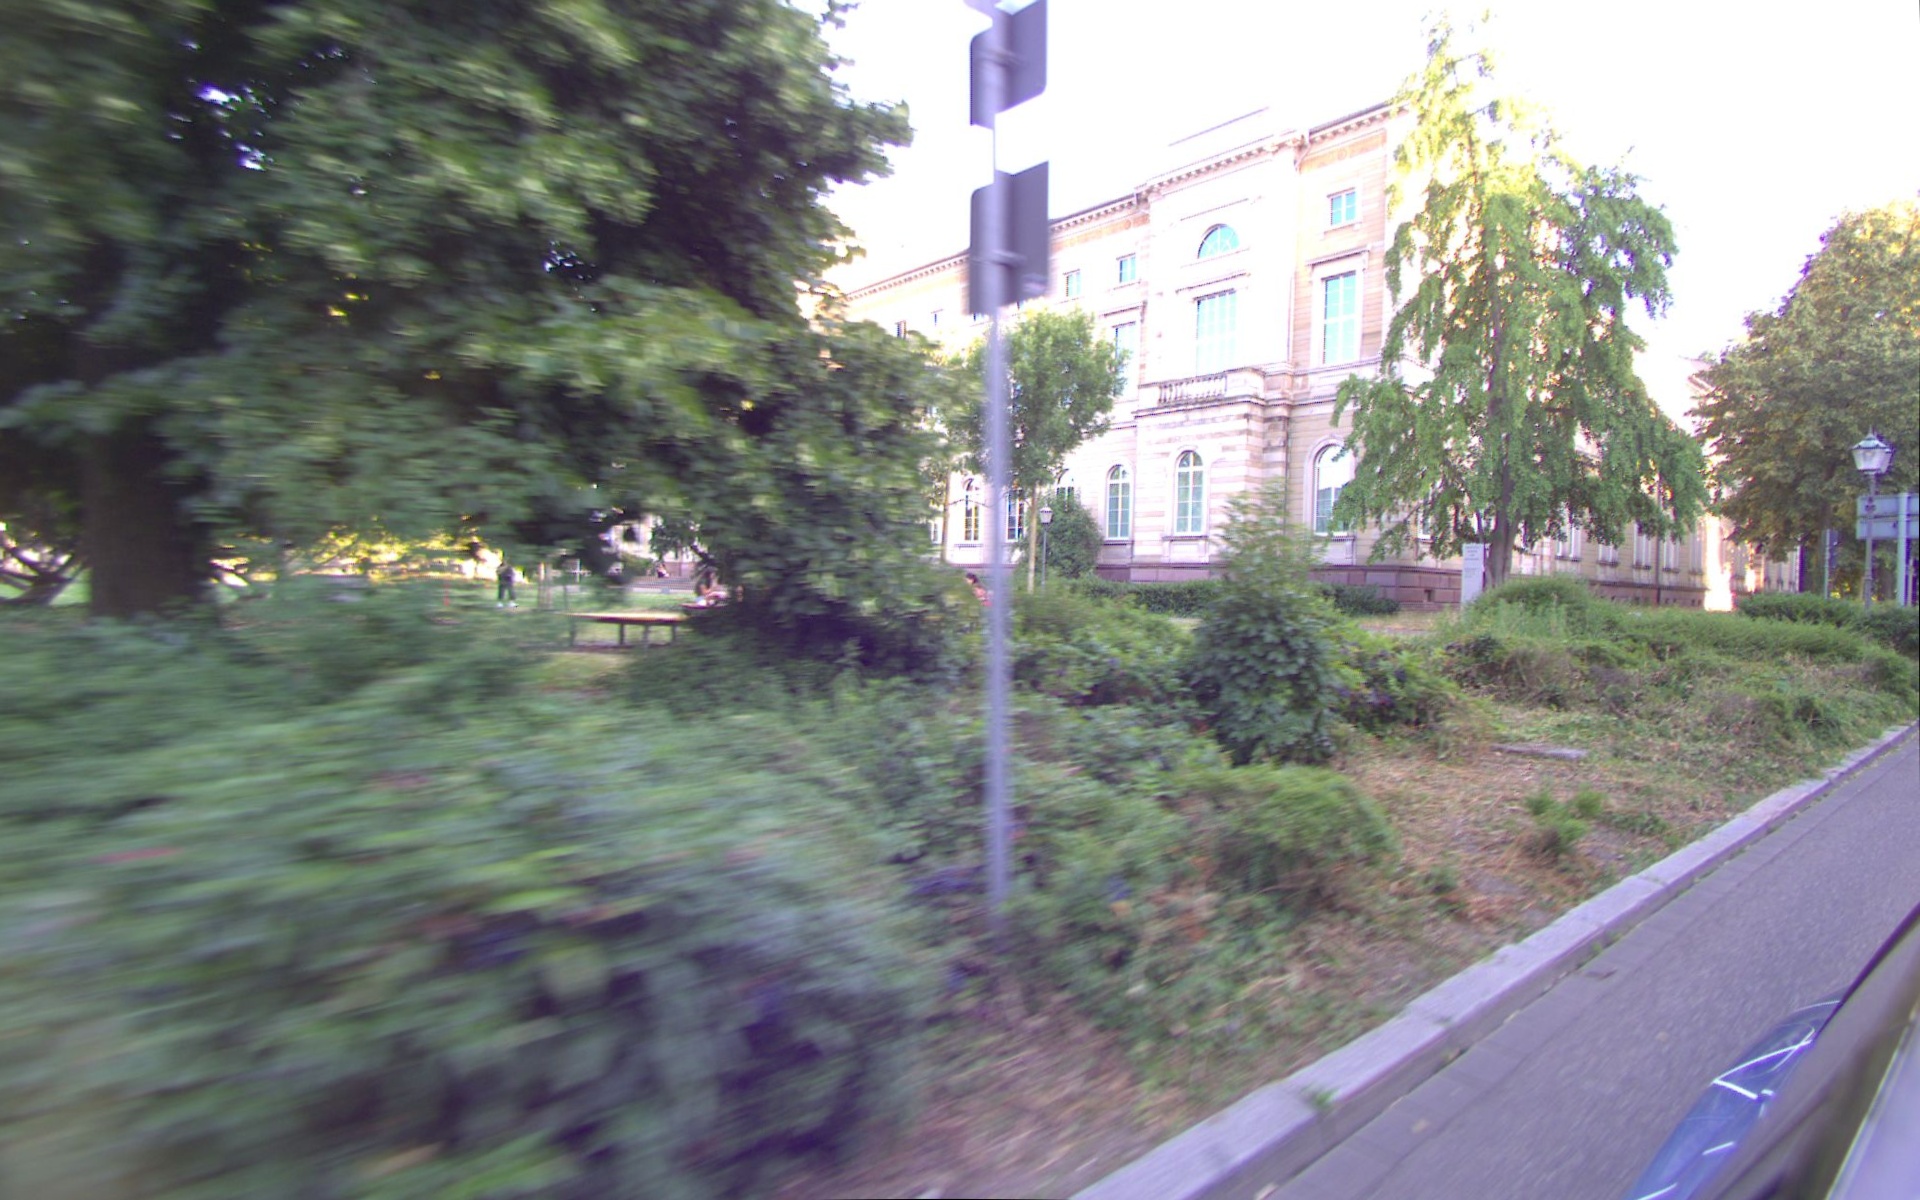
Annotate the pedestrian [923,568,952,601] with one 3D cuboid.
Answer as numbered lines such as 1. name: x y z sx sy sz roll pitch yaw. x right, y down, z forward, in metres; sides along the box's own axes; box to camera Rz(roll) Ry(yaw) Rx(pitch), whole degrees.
1. pedestrian: -0.992 -0.674 44.525 1.026 1.414 0.695 1 2 -40

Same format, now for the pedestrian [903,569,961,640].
1. pedestrian: -0.495 0.072 17.974 0.733 1.206 0.724 0 2 -37

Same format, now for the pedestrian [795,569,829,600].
1. pedestrian: -7.632 -0.815 52.285 1.540 1.575 0.801 0 2 -40

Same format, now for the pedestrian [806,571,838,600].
1. pedestrian: -7.006 -0.729 51.389 1.427 1.414 0.695 0 2 -40

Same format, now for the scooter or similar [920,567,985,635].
1. scooter or similar: -0.146 0.005 19.626 1.212 1.261 0.413 2 1 34

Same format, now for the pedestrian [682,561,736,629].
1. pedestrian: -5.209 -0.114 21.008 0.756 1.364 0.778 2 1 33

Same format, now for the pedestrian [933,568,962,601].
1. pedestrian: -0.530 -0.669 43.756 1.026 1.414 0.695 1 2 -40

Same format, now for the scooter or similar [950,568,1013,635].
1. scooter or similar: 0.410 0.016 19.903 1.214 1.261 0.412 2 2 38

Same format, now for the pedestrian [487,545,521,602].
1. pedestrian: -14.327 -0.828 31.763 0.746 1.769 0.771 0 2 -44

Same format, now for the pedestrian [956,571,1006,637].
1. pedestrian: 0.386 0.073 19.010 0.778 1.206 0.666 1 1 -13

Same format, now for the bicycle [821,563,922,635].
1. bicycle: -1.681 -0.025 19.509 0.620 1.316 1.986 2 2 45

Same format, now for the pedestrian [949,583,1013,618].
1. pedestrian: 0.387 0.001 18.120 0.537 0.556 1.363 6 4 30

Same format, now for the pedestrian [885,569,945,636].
1. pedestrian: -0.831 0.035 18.702 0.774 1.206 0.809 0 2 -37
